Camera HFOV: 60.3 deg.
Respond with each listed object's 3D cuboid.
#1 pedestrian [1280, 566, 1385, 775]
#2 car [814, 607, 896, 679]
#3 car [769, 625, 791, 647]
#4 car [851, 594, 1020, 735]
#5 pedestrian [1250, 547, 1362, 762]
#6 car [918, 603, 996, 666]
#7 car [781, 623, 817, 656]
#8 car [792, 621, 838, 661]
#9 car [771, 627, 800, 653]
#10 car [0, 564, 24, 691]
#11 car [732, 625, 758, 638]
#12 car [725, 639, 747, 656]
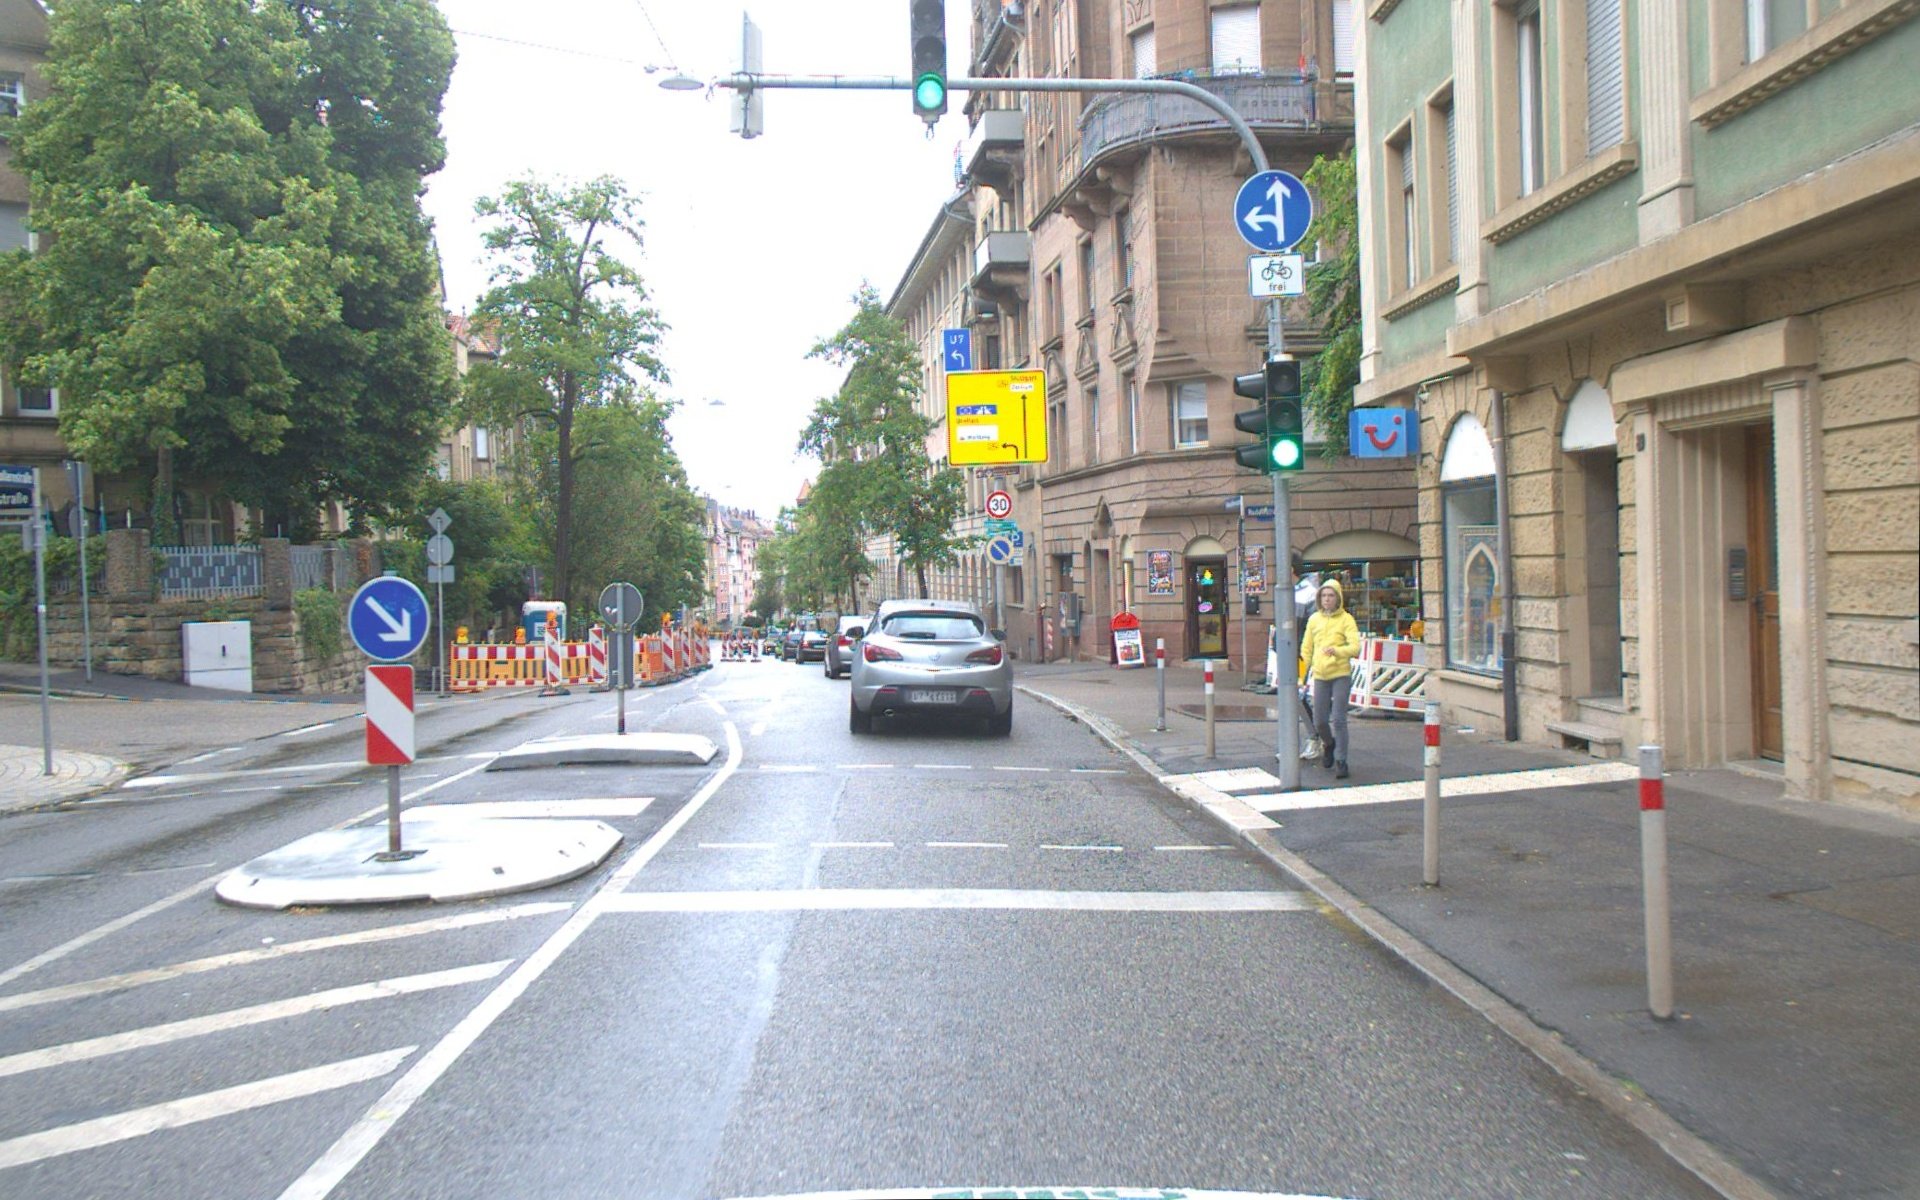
[{"bbox_3d":[3.018,0.554,13.439,0.585,1.612,0.665,-4,0,-2],"label":"pedestrian"},{"bbox_3d":[-2.417,0.958,37.521,1.737,1.531,3.864,-1,-1,-5],"label":"car"},{"bbox_3d":[-16.403,3.315,150.451,1.684,1.813,3.658,-5,-1,-8],"label":"car"},{"bbox_3d":[-0.266,0.717,19.499,1.774,1.475,3.868,-1,-1,0],"label":"car"},{"bbox_3d":[3.034,0.470,14.488,0.704,1.805,0.665,-4,0,27],"label":"pedestrian"},{"bbox_3d":[-0.135,0.978,46.459,1.626,1.570,3.658,-4,-1,-8],"label":"car"},{"bbox_3d":[-8.416,2.082,86.080,1.626,1.570,3.658,-4,-1,-8],"label":"car"},{"bbox_3d":[-6.276,1.774,71.362,1.627,1.570,3.656,-4,-1,-10],"label":"car"},{"bbox_3d":[-11.111,2.558,105.424,1.626,1.570,3.658,-4,-1,-8],"label":"car"},{"bbox_3d":[-18.186,0.324,27.271,4.564,2.083,2.027,4,2,13],"label":"car"},{"bbox_3d":[-32.046,4.691,246.634,3.912,1.781,1.996,1,-2,-8],"label":"car"},{"bbox_3d":[-22.393,4.744,165.158,1.957,1.527,3.990,-2,-1,-10],"label":"car"}]
